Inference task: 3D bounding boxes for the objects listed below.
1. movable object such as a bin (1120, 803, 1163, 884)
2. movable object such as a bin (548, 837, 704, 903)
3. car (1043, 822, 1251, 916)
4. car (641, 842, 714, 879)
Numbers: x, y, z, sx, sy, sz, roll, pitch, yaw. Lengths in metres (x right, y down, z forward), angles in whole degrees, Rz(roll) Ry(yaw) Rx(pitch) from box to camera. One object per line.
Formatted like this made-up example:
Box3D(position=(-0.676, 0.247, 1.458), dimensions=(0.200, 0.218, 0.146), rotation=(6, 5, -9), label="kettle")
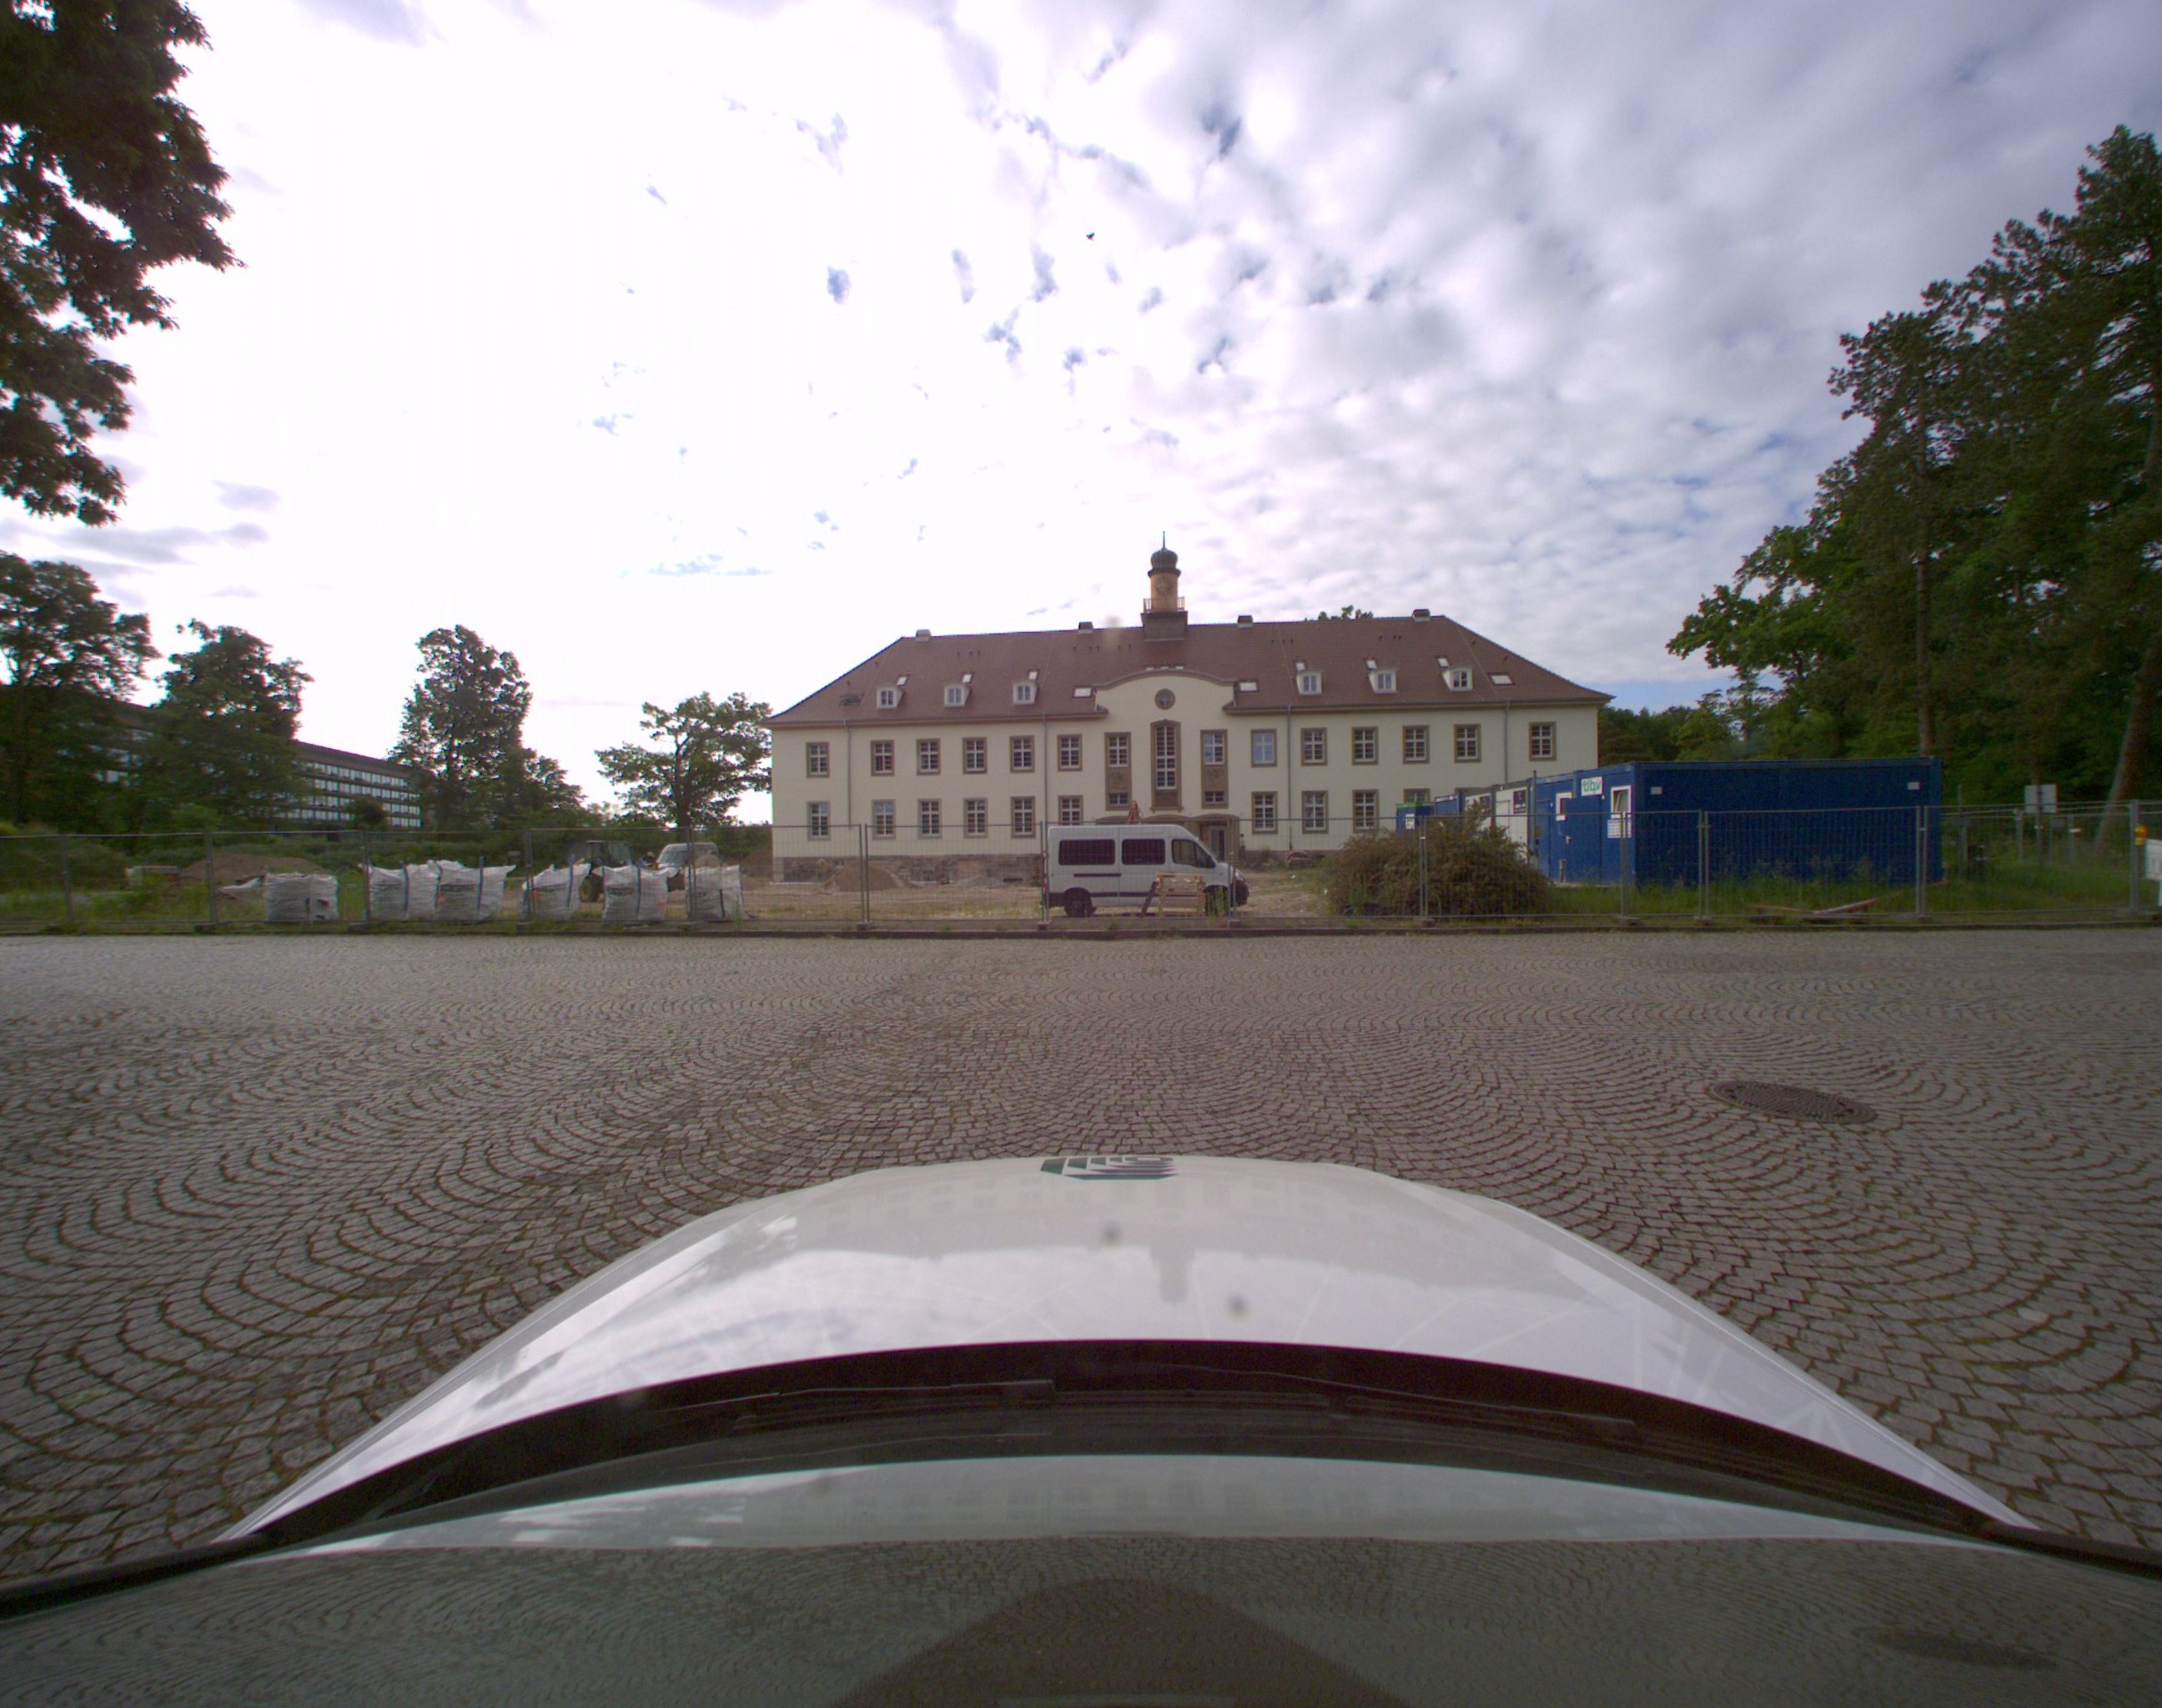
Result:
Box3D(position=(2.951, -0.506, 40.759), dimensions=(1.985, 3.771, 5.321), rotation=(-1, 0, 3), label="movable object such as a bin")
Box3D(position=(-18.639, 0.642, 33.465), dimensions=(5.305, 2.556, 2.002), rotation=(-1, 0, 4), label="movable object such as a bin")
Box3D(position=(1.767, 0.391, 21.634), dimensions=(5.234, 2.344, 1.914), rotation=(-1, 0, 7), label="car")
Box3D(position=(-25.108, 0.387, 50.893), dimensions=(2.061, 2.150, 4.898), rotation=(-1, 0, 0), label="car")
